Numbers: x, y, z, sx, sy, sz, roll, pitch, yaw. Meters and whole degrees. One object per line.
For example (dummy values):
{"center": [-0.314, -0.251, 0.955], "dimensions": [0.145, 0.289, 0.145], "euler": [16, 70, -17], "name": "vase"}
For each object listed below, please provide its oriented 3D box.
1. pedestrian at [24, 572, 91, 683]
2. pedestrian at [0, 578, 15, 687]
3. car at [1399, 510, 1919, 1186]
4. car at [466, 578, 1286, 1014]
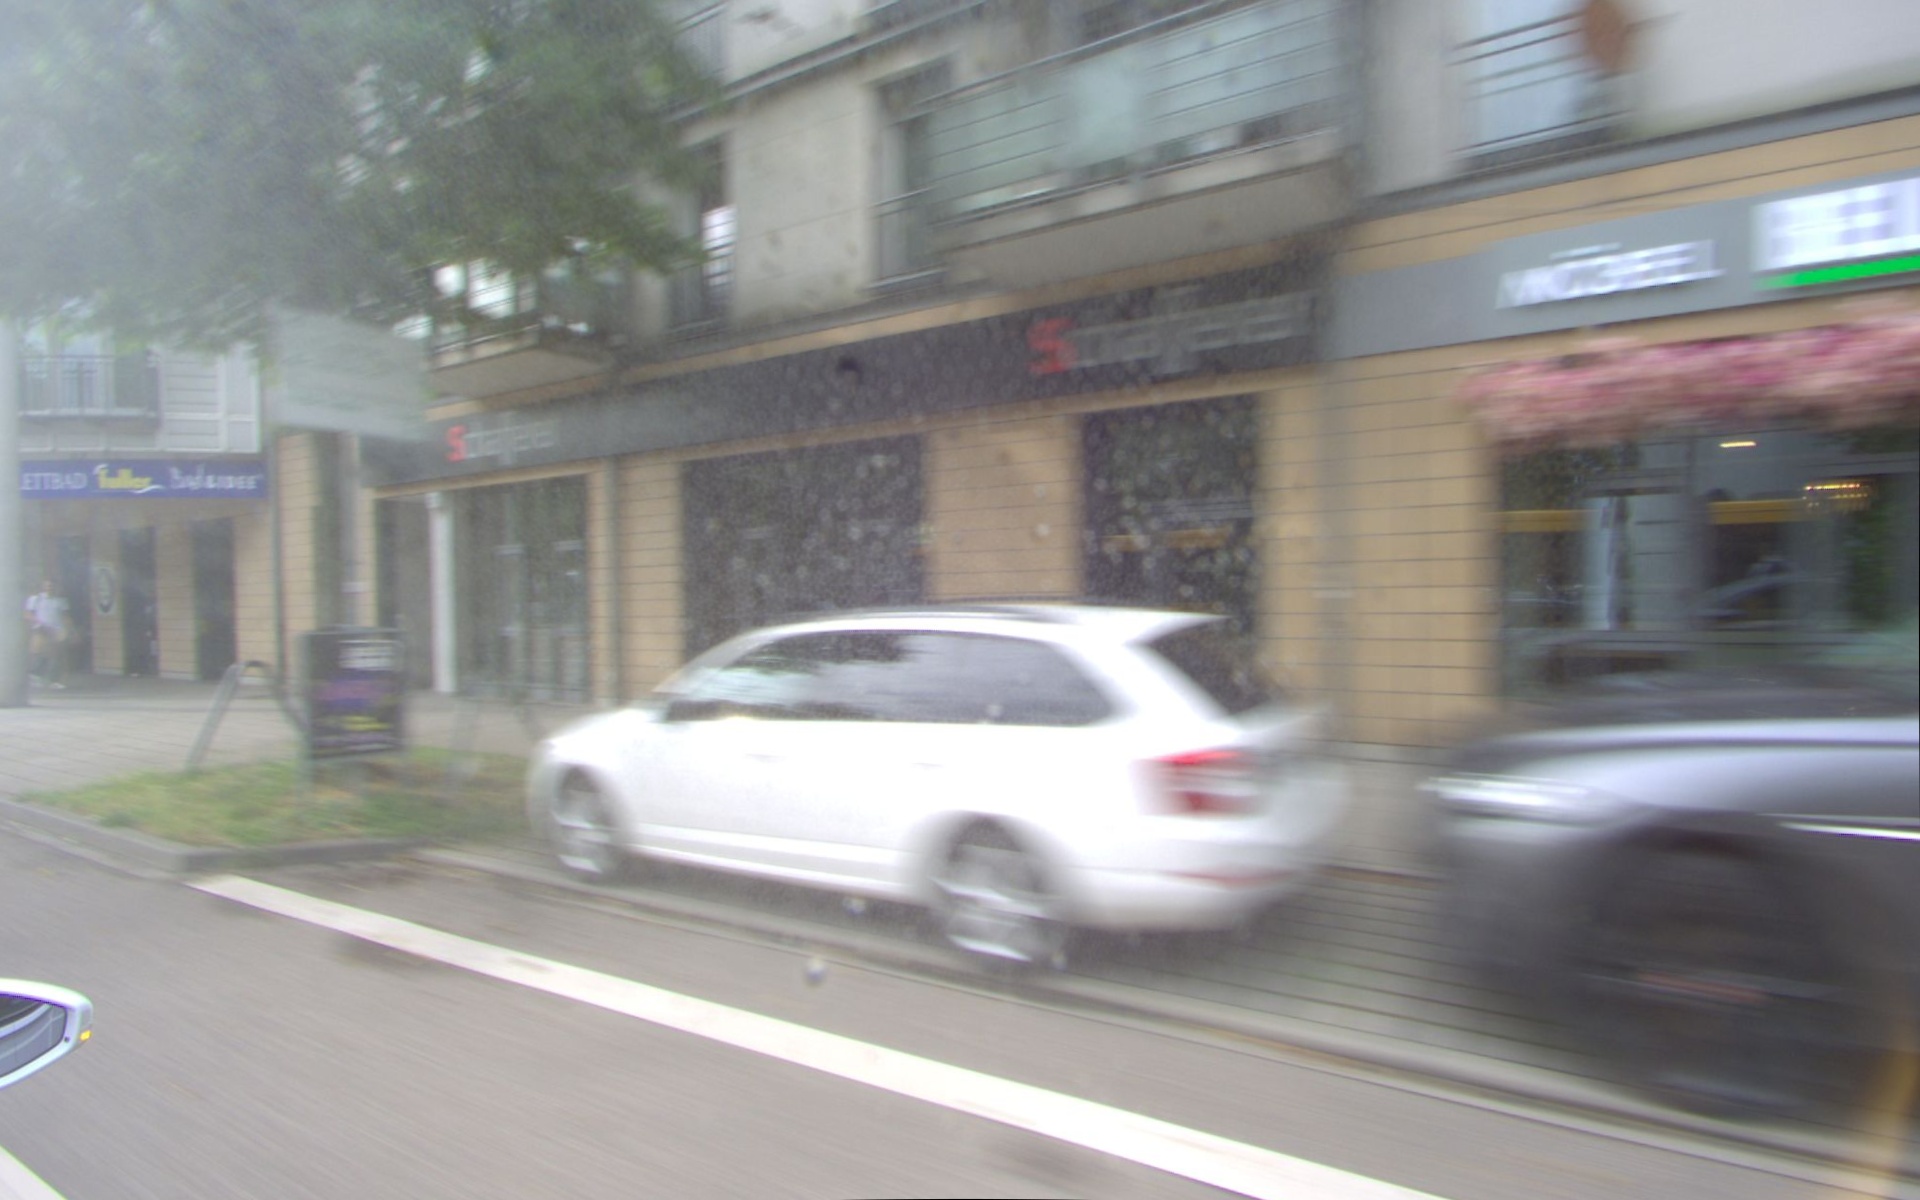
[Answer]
{"center": [-15.970, 0.479, 17.728], "dimensions": [0.727, 1.916, 0.673], "euler": [0, 2, 33], "name": "pedestrian"}
{"center": [-16.518, 0.544, 16.908], "dimensions": [0.727, 1.830, 0.614], "euler": [0, 2, 33], "name": "pedestrian"}
{"center": [3.816, 0.590, 2.720], "dimensions": [4.642, 1.741, 1.708], "euler": [-1, 3, 31], "name": "car"}
{"center": [-0.646, 0.712, 5.469], "dimensions": [4.328, 1.519, 1.671], "euler": [-1, 3, 33], "name": "car"}
